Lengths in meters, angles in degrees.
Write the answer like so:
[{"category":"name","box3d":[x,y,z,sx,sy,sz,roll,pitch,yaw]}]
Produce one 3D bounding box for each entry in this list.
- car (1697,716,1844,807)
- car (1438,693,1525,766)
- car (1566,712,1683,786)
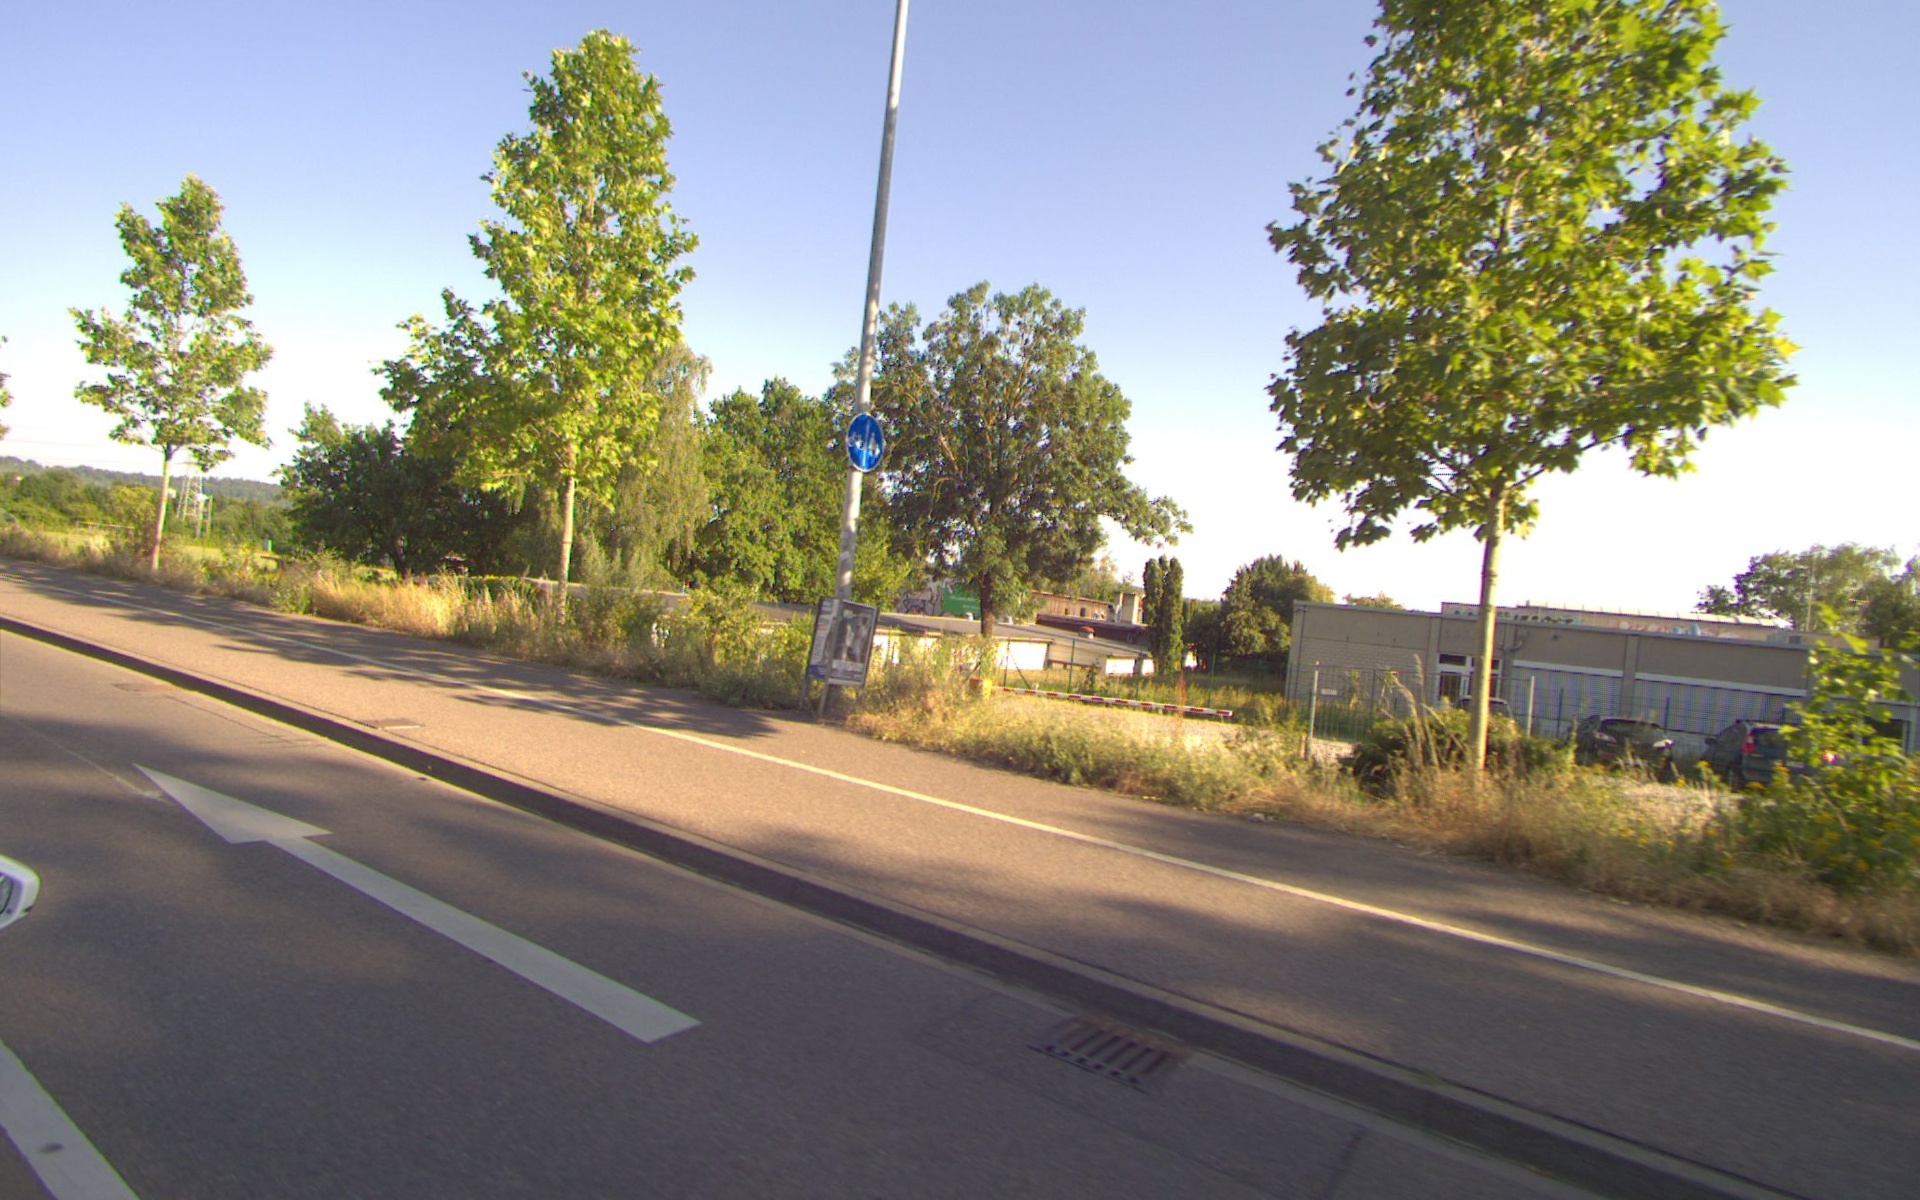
[{"category":"car","box3d":[18.827,3.686,23.566,1.676,1.685,3.922,5,-3,25]},{"category":"car","box3d":[13.738,3.360,26.682,1.697,1.574,3.794,4,-2,24]},{"category":"car","box3d":[16.433,3.635,25.069,1.708,1.412,3.794,4,-3,24]}]
